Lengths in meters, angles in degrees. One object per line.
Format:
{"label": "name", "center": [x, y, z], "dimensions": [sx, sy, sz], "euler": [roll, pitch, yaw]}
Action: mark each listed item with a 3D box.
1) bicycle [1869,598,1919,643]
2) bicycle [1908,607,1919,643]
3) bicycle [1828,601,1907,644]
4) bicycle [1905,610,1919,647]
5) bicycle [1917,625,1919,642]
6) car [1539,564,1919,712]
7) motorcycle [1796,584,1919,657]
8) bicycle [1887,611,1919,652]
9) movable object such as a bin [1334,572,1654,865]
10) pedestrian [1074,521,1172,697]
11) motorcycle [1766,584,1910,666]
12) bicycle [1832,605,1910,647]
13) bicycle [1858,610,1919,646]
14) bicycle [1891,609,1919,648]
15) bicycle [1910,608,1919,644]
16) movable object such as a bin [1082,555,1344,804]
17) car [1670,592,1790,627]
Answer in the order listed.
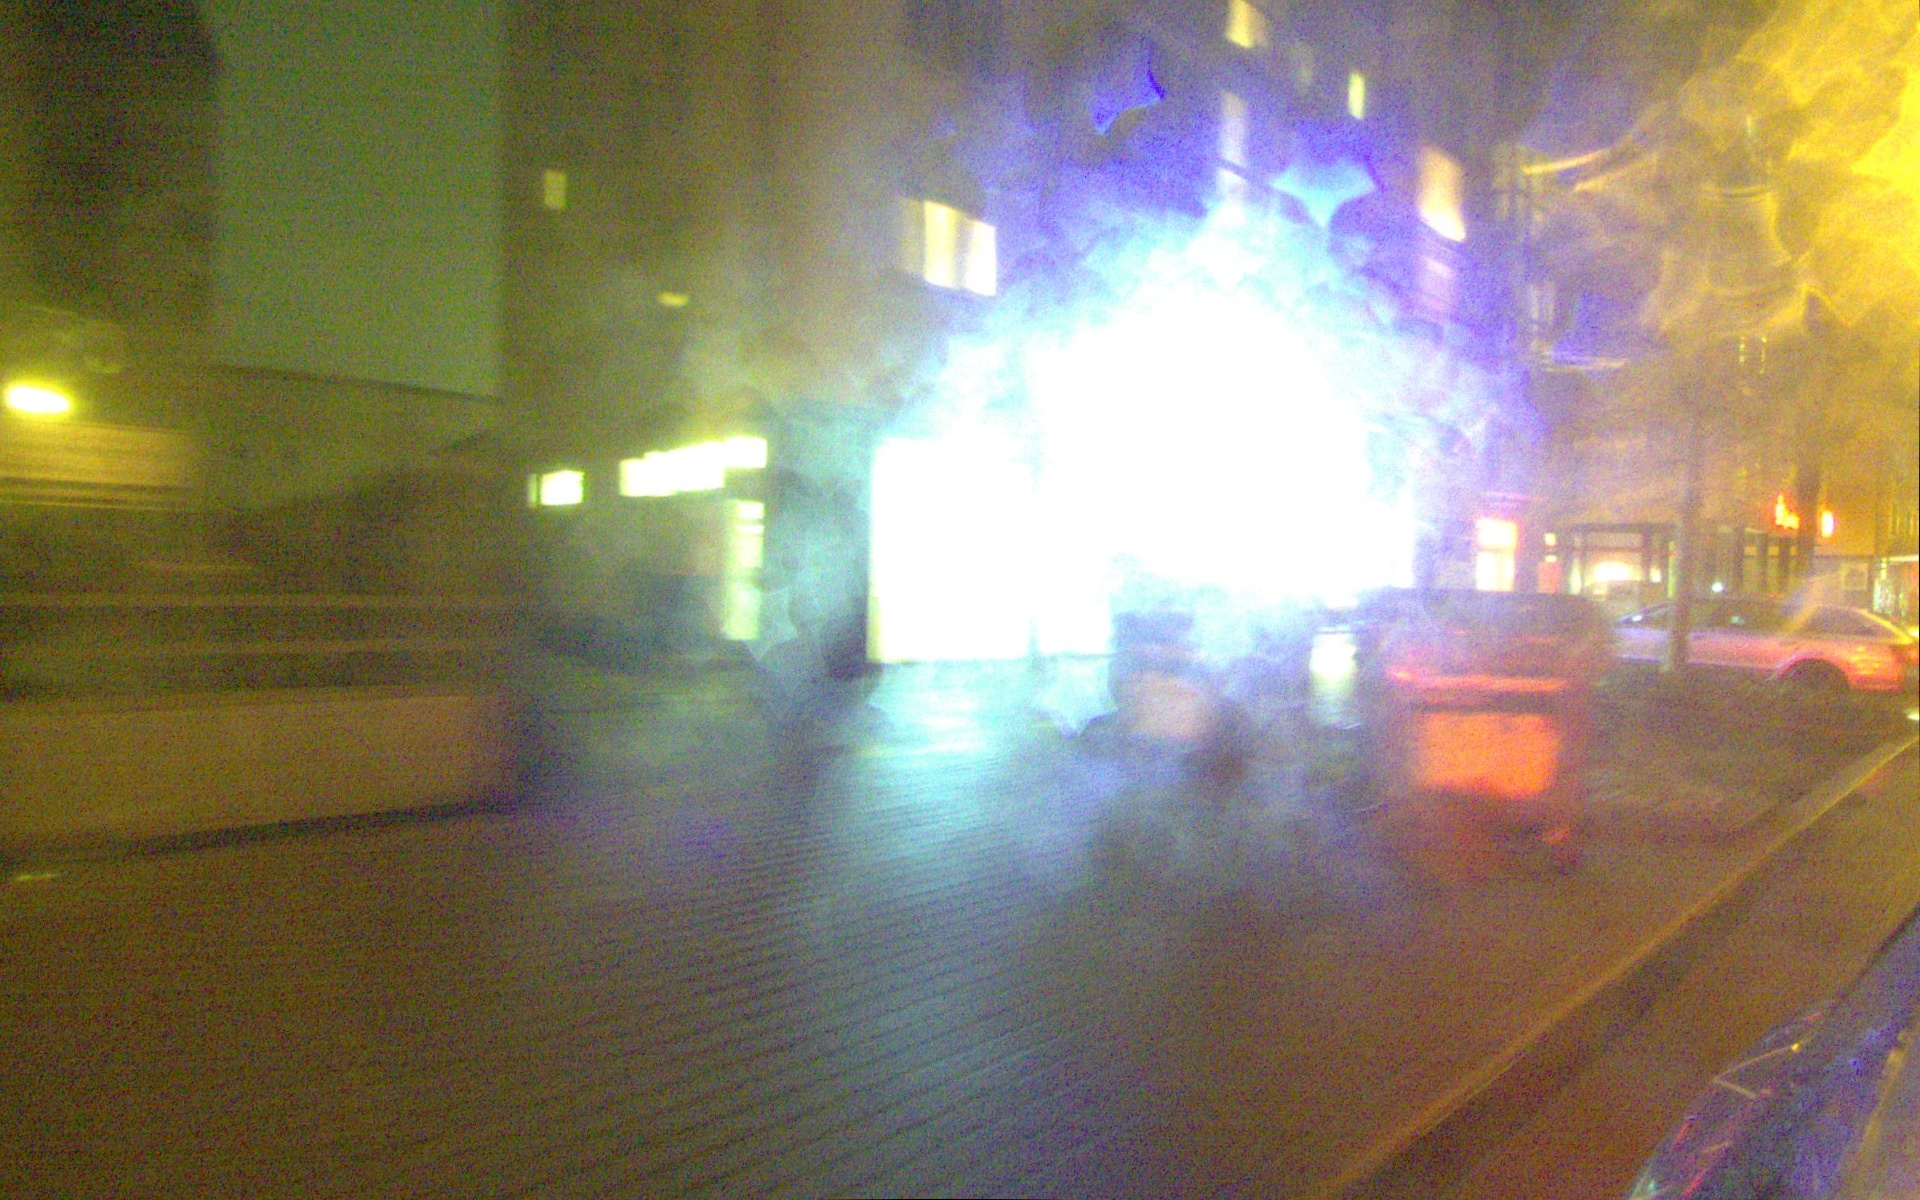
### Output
{"label": "bicycle", "center": [28.940, 0.642, 30.944], "dimensions": [0.360, 1.216, 1.533], "euler": [0, 8, -41]}
{"label": "bicycle", "center": [26.925, 0.780, 27.544], "dimensions": [0.360, 0.963, 1.532], "euler": [-1, 8, -44]}
{"label": "bicycle", "center": [25.526, 0.618, 28.488], "dimensions": [0.360, 0.963, 1.532], "euler": [-1, 8, -44]}
{"label": "bicycle", "center": [26.592, 0.871, 27.279], "dimensions": [0.360, 0.963, 1.532], "euler": [-1, 8, -44]}
{"label": "bicycle", "center": [29.189, 0.835, 29.650], "dimensions": [0.360, 1.035, 1.533], "euler": [0, 8, -41]}
{"label": "car", "center": [11.237, 0.423, 14.679], "dimensions": [1.749, 1.549, 4.524], "euler": [1, 5, -41]}
{"label": "motorcycle", "center": [22.696, 0.481, 25.582], "dimensions": [0.851, 1.565, 2.178], "euler": [0, 5, -40]}
{"label": "bicycle", "center": [25.109, 0.887, 26.085], "dimensions": [0.359, 0.963, 1.678], "euler": [1, 7, -33]}
{"label": "movable object such as a bin", "center": [2.951, 0.581, 5.819], "dimensions": [1.321, 1.447, 1.196], "euler": [2, 1, 13]}
{"label": "pedestrian", "center": [1.745, 0.081, 10.859], "dimensions": [0.612, 1.810, 0.705], "euler": [2, 2, -37]}
{"label": "motorcycle", "center": [20.333, 0.542, 23.491], "dimensions": [0.851, 1.606, 2.294], "euler": [0, 5, -40]}
{"label": "bicycle", "center": [25.919, 0.731, 28.815], "dimensions": [0.360, 0.963, 1.531], "euler": [-1, 8, -45]}
{"label": "bicycle", "center": [27.761, 0.836, 30.051], "dimensions": [0.319, 0.843, 1.535], "euler": [0, 7, -36]}
{"label": "bicycle", "center": [25.507, 0.821, 26.484], "dimensions": [0.359, 0.963, 1.536], "euler": [1, 7, -33]}
{"label": "bicycle", "center": [28.203, 0.841, 28.829], "dimensions": [0.359, 1.035, 1.535], "euler": [0, 7, -36]}
{"label": "movable object such as a bin", "center": [1.637, 0.445, 6.697], "dimensions": [1.029, 1.447, 1.315], "euler": [1, 1, -31]}
{"label": "car", "center": [34.618, 0.393, 45.589], "dimensions": [1.861, 1.504, 3.996], "euler": [1, 0, -39]}
